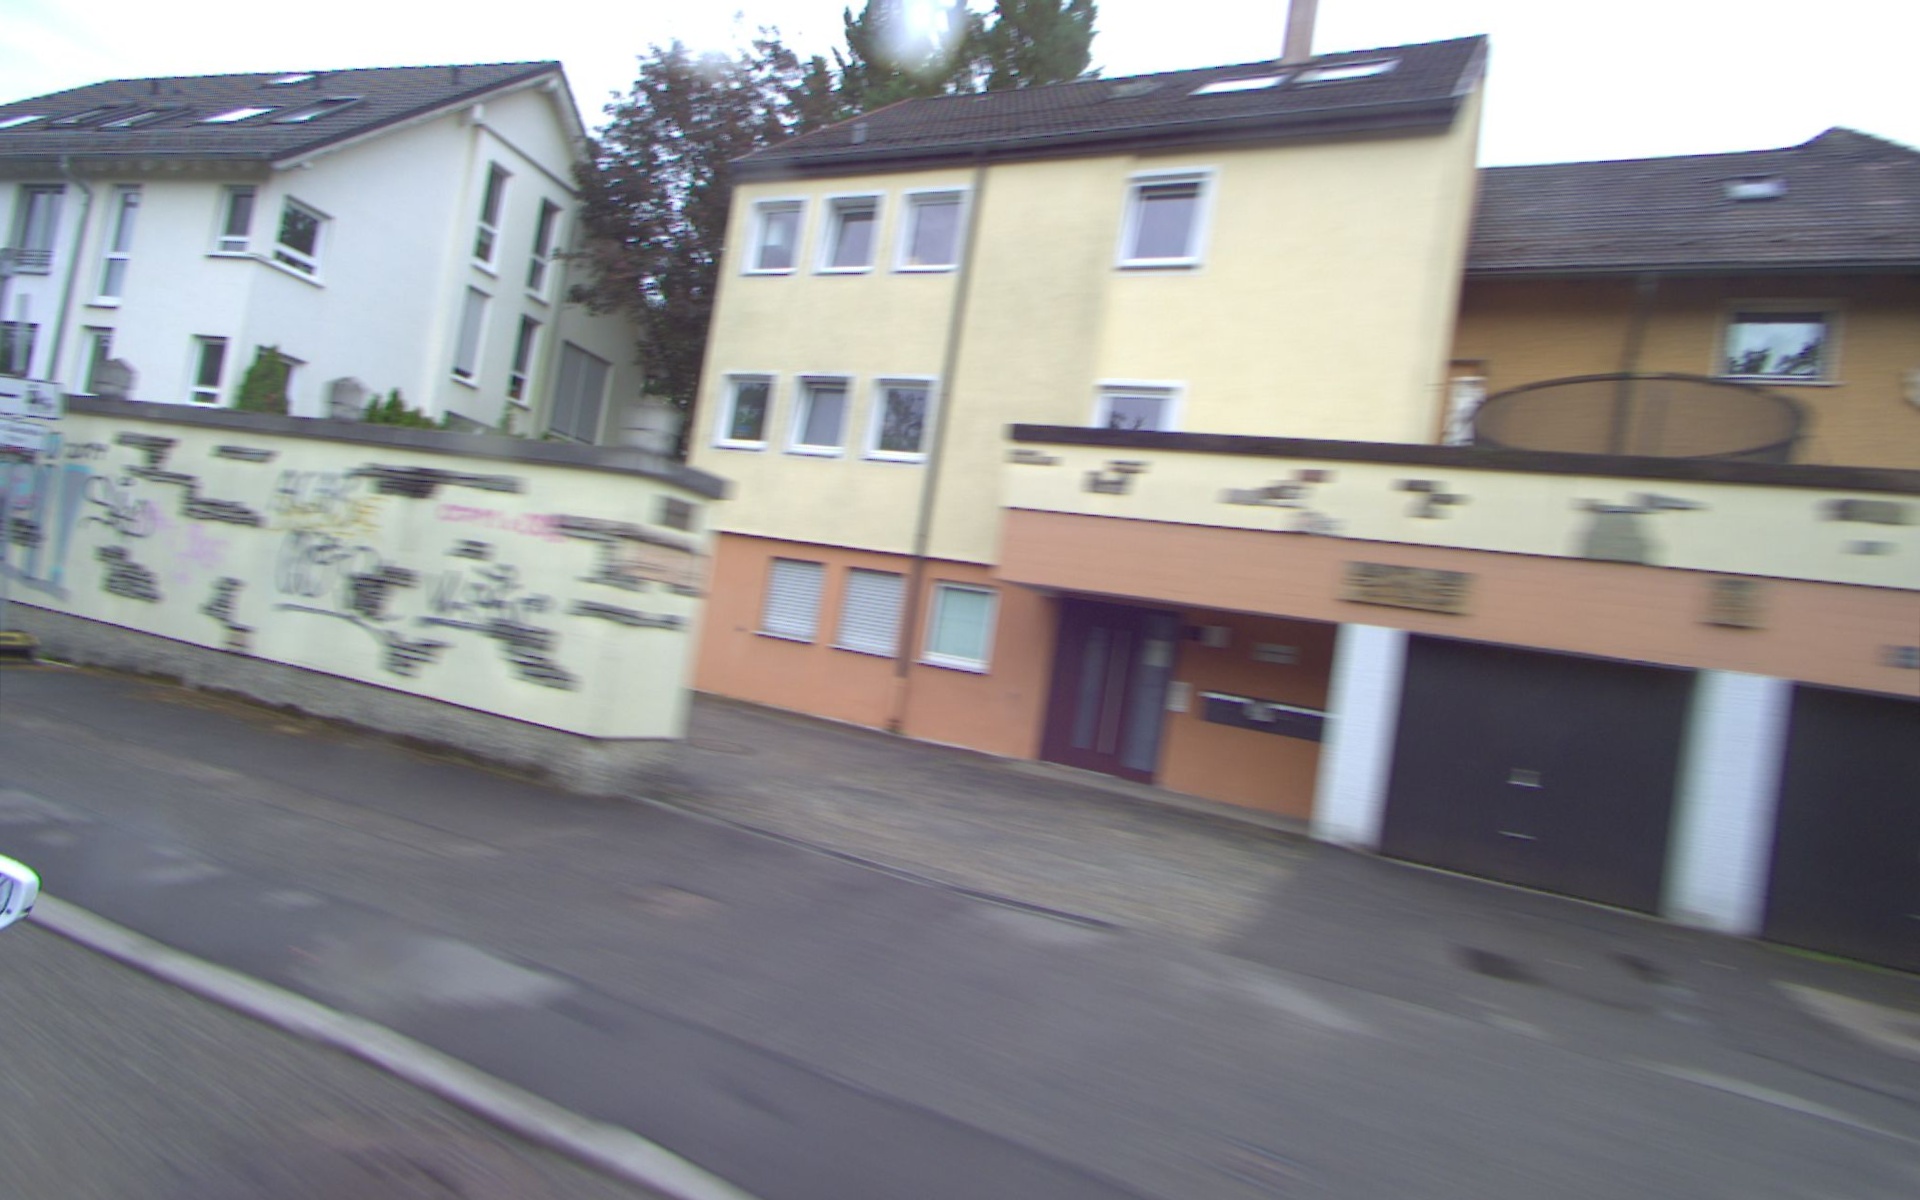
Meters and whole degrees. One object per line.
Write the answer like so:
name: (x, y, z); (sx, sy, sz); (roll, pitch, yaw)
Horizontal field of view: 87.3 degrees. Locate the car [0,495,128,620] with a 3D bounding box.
car: (-14.839, -0.876, 14.117); (1.955, 1.611, 4.353); (7, -5, 18)
